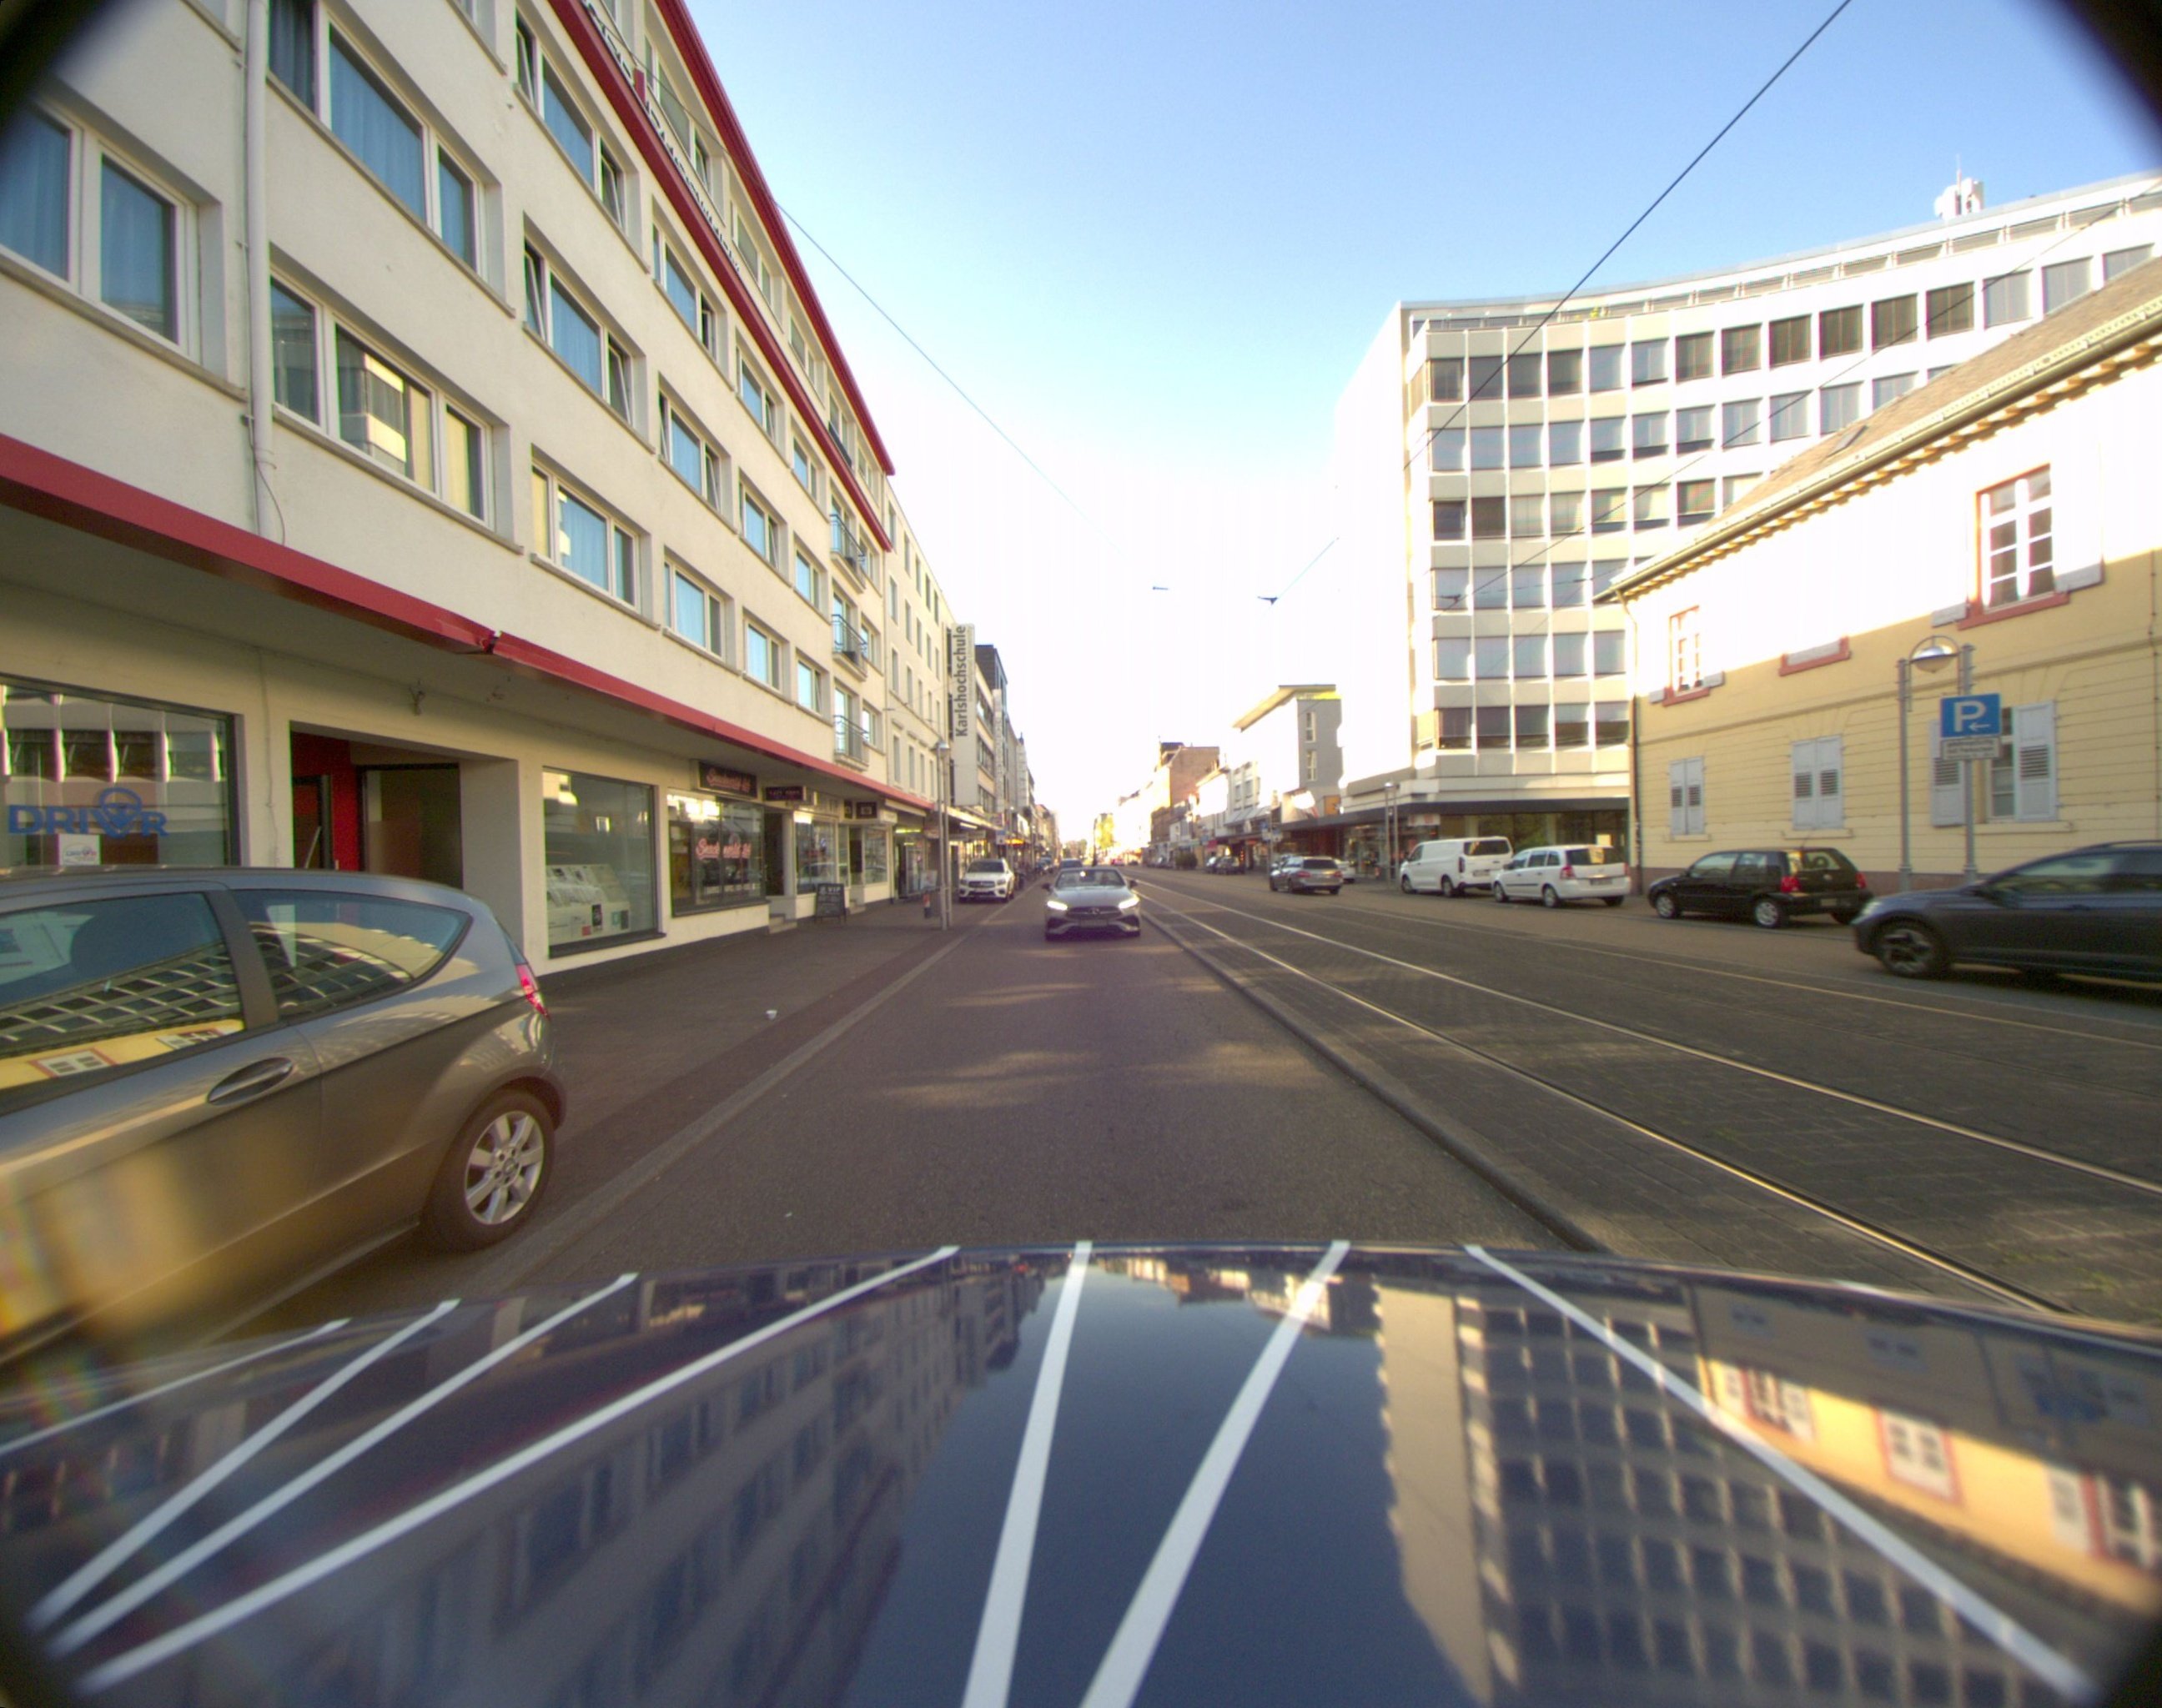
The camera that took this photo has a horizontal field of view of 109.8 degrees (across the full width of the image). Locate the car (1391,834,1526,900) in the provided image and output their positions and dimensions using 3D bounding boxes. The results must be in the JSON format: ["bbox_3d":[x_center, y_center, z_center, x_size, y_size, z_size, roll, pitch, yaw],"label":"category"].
[{"bbox_3d":[12.972,0.401,26.542,1.999,1.963,5.095,-4,0,-1],"label":"car"}]

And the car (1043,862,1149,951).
[{"bbox_3d":[0.230,0.968,15.928,1.858,1.463,4.785,-1,0,-1],"label":"car"}]

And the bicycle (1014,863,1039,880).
[{"bbox_3d":[-3.950,1.244,55.027,1.792,1.210,0.669,-1,0,-1],"label":"bicycle"}]

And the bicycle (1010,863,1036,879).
[{"bbox_3d":[-4.077,1.199,53.688,1.792,1.152,0.669,-1,0,-1],"label":"bicycle"}]

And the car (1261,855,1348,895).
[{"bbox_3d":[8.897,0.779,30.694,1.885,1.487,4.929,0,0,-2],"label":"car"}]

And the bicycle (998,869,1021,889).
[{"bbox_3d":[-3.718,1.299,39.555,1.134,1.073,0.320,0,1,-2],"label":"bicycle"}]

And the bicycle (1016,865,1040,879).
[{"bbox_3d":[-3.971,1.343,57.222,1.778,1.026,0.596,-1,0,-1],"label":"bicycle"}]

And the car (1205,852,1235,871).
[{"bbox_3d":[12.566,0.663,68.989,1.741,1.514,4.851,-4,0,0],"label":"car"}]

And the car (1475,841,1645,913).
[{"bbox_3d":[12.987,0.554,21.007,1.812,1.676,4.648,-3,0,2],"label":"car"}]

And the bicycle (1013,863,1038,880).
[{"bbox_3d":[-4.049,1.257,55.905,1.792,1.210,0.587,-1,0,-1],"label":"bicycle"}]

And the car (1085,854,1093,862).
[{"bbox_3d":[2.315,1.036,213.708,1.998,2.002,4.000,-4,0,0],"label":"car"}]

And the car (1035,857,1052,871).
[{"bbox_3d":[-4.174,1.127,84.478,1.726,1.476,4.415,0,0,-1],"label":"car"}]

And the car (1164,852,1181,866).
[{"bbox_3d":[11.774,0.642,97.899,1.701,1.594,2.891,-3,1,-1],"label":"car"}]

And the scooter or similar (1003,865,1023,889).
[{"bbox_3d":[-3.574,1.214,39.904,0.995,1.224,0.320,0,1,-2],"label":"scooter or similar"}]

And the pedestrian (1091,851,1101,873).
[{"bbox_3d":[1.260,0.666,63.453,0.806,1.827,0.746,0,1,-2],"label":"pedestrian"}]

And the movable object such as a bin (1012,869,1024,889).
[{"bbox_3d":[-3.353,1.324,40.516,0.523,1.008,0.671,-1,1,2],"label":"movable object such as a bin"}]

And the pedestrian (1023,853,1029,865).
[{"bbox_3d":[-6.797,0.643,93.912,0.577,1.431,0.731,0,1,-1],"label":"pedestrian"}]

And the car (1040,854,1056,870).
[{"bbox_3d":[-3.971,0.950,90.827,1.821,1.849,4.548,0,0,-4],"label":"car"}]

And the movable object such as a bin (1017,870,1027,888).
[{"bbox_3d":[-3.246,1.376,41.775,0.489,0.952,0.458,0,1,3],"label":"movable object such as a bin"}]

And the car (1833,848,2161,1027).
[{"bbox_3d":[10.161,0.715,7.122,1.769,1.503,4.278,-2,0,-5],"label":"car"}]

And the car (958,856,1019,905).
[{"bbox_3d":[-3.522,0.948,29.812,1.854,1.714,5.191,0,0,-1],"label":"car"}]

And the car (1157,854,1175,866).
[{"bbox_3d":[11.980,0.796,107.183,1.822,1.505,4.762,-2,0,-1],"label":"car"}]

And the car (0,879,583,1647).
[{"bbox_3d":[-3.236,0.924,1.764,1.749,1.622,3.649,0,0,0],"label":"car"}]

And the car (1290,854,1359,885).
[{"bbox_3d":[12.686,0.753,39.911,1.893,1.413,4.655,-4,0,-2],"label":"car"}]

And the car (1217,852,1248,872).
[{"bbox_3d":[12.493,0.673,62.976,1.605,1.514,3.588,-4,0,-3],"label":"car"}]

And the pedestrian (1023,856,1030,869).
[{"bbox_3d":[-6.286,0.967,88.209,0.697,1.499,0.814,-1,0,-1],"label":"pedestrian"}]

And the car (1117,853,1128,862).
[{"bbox_3d":[8.027,0.685,148.070,1.802,1.625,3.675,-1,0,-1],"label":"car"}]

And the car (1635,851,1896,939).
[{"bbox_3d":[12.989,0.682,14.770,1.618,1.392,3.719,-4,0,-1],"label":"car"}]

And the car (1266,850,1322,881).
[{"bbox_3d":[12.823,0.639,45.984,1.983,1.669,4.654,-4,0,0],"label":"car"}]
